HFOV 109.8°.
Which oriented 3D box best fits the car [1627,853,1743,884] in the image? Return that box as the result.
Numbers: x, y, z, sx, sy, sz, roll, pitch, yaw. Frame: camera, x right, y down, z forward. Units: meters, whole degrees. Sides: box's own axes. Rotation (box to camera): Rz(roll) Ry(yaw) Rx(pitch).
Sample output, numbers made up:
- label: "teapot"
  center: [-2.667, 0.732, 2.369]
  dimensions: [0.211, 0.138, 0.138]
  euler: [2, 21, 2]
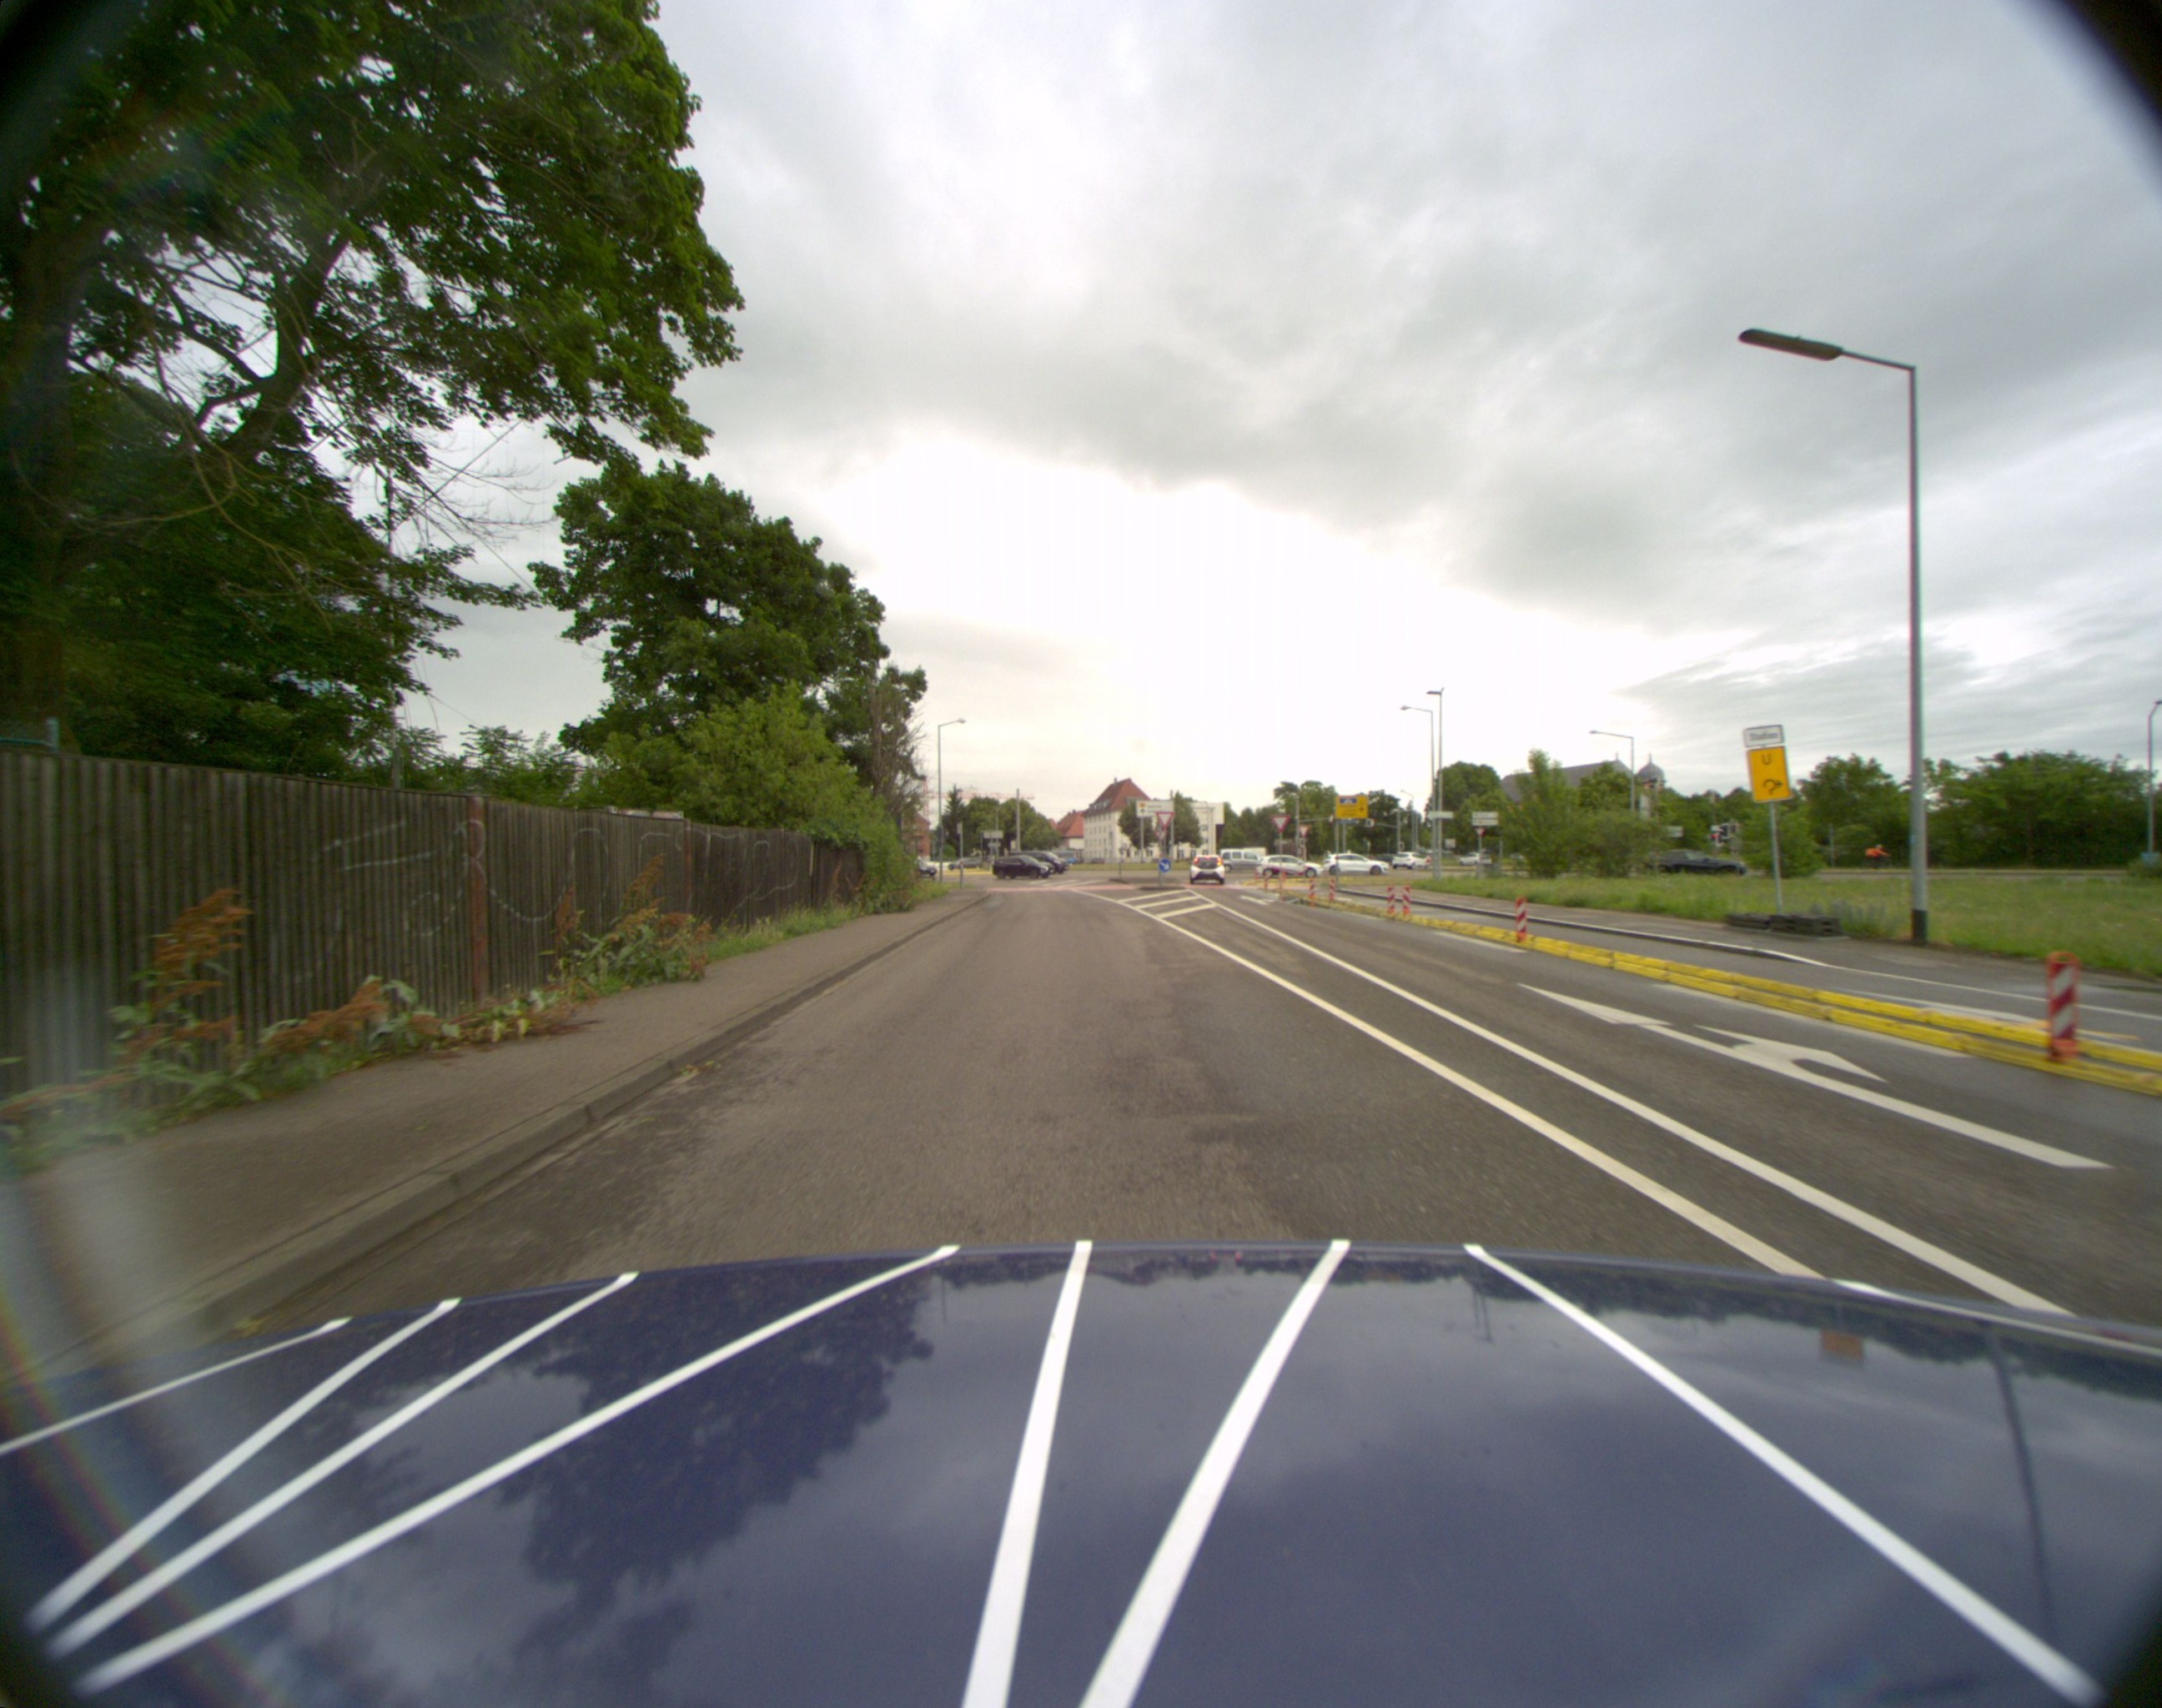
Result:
- label: "car"
  center: [33.952, 0.824, 42.891]
  dimensions: [4.741, 1.658, 1.924]
  euler: [-1, 0, 20]

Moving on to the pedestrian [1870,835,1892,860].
- label: "pedestrian"
  center: [58.634, -0.456, 55.689]
  dimensions: [0.750, 1.760, 0.972]
  euler: [0, 0, -33]

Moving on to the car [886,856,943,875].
- label: "car"
  center: [-14.304, 0.977, 65.445]
  dimensions: [4.351, 1.608, 2.002]
  euler: [-1, -1, 14]

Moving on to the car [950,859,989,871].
- label: "car"
  center: [-13.632, 1.327, 92.935]
  dimensions: [4.351, 1.462, 1.995]
  euler: [-1, 0, -35]

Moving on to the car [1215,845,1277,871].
- label: "car"
  center: [12.627, 0.303, 58.336]
  dimensions: [4.478, 1.892, 1.923]
  euler: [-1, 0, 11]

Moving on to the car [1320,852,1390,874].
- label: "car"
  center: [19.104, 0.639, 53.201]
  dimensions: [4.467, 1.449, 1.924]
  euler: [-1, 0, 16]

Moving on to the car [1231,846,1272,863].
- label: "car"
  center: [25.406, 0.087, 113.083]
  dimensions: [5.595, 2.527, 2.245]
  euler: [-1, 0, 26]

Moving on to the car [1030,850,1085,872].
- label: "car"
  center: [-1.901, 0.531, 61.755]
  dimensions: [4.005, 1.705, 1.932]
  euler: [-1, 0, 18]

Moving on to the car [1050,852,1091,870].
- label: "car"
  center: [-1.369, 0.898, 100.736]
  dimensions: [2.169, 2.229, 5.354]
  euler: [-1, 0, 45]

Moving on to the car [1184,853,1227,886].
- label: "car"
  center: [6.513, 0.777, 39.981]
  dimensions: [1.755, 1.578, 3.902]
  euler: [2, 0, 3]

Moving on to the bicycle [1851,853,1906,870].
- label: "bicycle"
  center: [58.557, 0.584, 55.793]
  dimensions: [0.759, 1.215, 2.683]
  euler: [0, -1, -33]

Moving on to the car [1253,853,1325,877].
- label: "car"
  center: [13.474, 0.700, 49.406]
  dimensions: [4.425, 1.449, 1.834]
  euler: [-1, 0, 12]

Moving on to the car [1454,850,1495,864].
- label: "car"
  center: [44.198, 0.357, 85.429]
  dimensions: [1.900, 1.546, 3.994]
  euler: [-1, 0, -16]

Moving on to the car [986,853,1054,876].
- label: "car"
  center: [-4.393, 0.771, 54.365]
  dimensions: [4.464, 1.557, 1.925]
  euler: [-1, 0, 26]

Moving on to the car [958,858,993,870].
- label: "car"
  center: [-13.316, 1.268, 95.997]
  dimensions: [4.006, 1.479, 1.809]
  euler: [-1, 0, -30]

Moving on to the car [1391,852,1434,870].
- label: "car"
  center: [28.420, 0.596, 65.076]
  dimensions: [1.916, 1.446, 4.485]
  euler: [-1, 0, 45]
